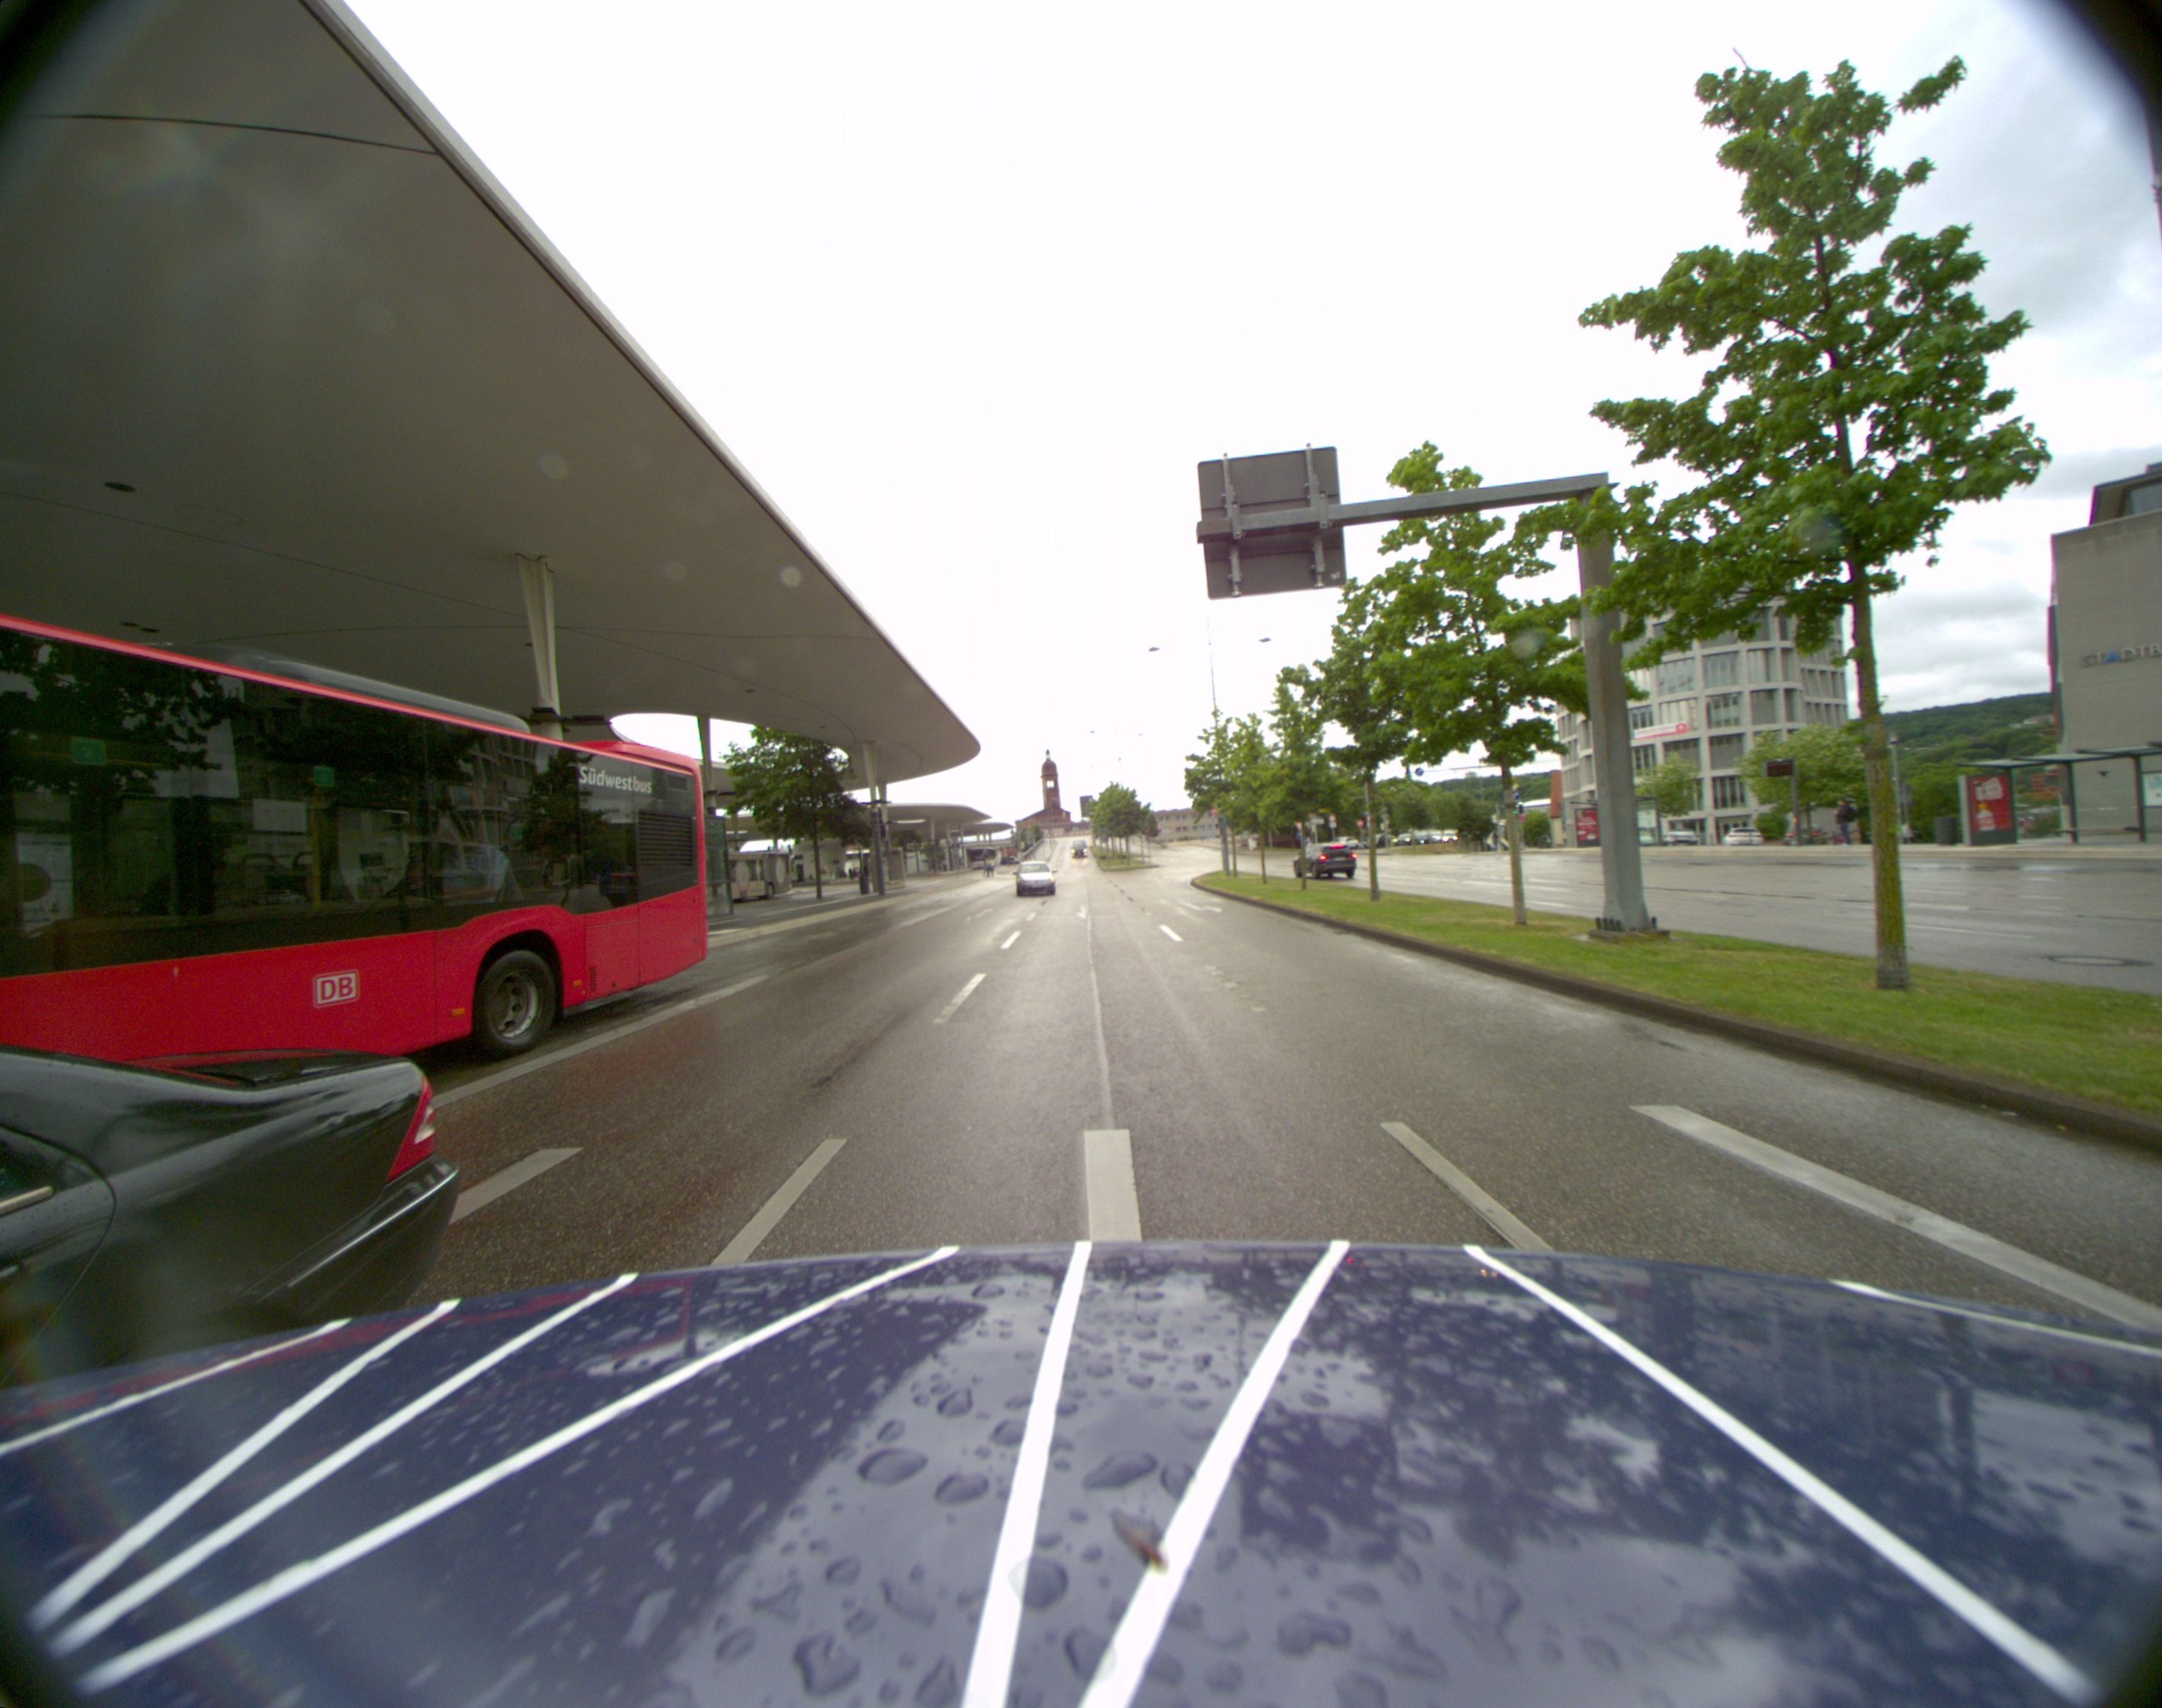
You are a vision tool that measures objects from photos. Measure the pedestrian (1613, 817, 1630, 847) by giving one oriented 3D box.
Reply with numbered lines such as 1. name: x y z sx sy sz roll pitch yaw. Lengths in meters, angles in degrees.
1. pedestrian: 30.049 -1.233 42.234 0.520 1.625 0.536 -2 1 1

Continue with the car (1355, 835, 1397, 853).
1. car: 31.628 -1.113 81.476 4.925 1.702 2.190 -3 1 -43

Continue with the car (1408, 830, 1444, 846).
1. car: 41.880 -1.939 92.224 4.925 1.702 2.190 -3 1 -43

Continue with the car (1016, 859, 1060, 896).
1. car: -1.933 0.984 33.375 1.628 1.450 3.733 -3 0 -7

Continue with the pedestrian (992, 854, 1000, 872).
1. pedestrian: -7.626 0.813 68.325 0.557 1.614 0.552 -3 1 1

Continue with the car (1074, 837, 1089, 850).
1. car: 0.071 -1.365 101.392 1.704 1.656 3.998 -2 1 -2

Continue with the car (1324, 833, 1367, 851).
1. car: 29.028 -1.361 83.366 4.925 1.702 2.190 -3 1 -40

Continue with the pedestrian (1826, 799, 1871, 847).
1. pedestrian: 29.294 -1.178 29.004 0.787 1.750 0.972 -3 1 -28

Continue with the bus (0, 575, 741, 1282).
1. bus: -6.169 0.356 6.357 2.750 3.155 8.120 -3 0 1

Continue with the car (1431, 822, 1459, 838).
1. car: 46.835 -3.084 97.828 1.995 2.002 4.008 -2 0 44

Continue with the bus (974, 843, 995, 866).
1. bus: -14.308 0.072 113.253 2.675 3.111 9.712 -3 0 -5

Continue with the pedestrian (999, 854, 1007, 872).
1. pedestrian: -7.035 0.789 68.223 0.557 1.614 0.552 -3 1 1

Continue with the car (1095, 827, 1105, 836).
1. car: 4.015 -4.748 159.086 1.998 1.765 4.000 -3 0 1

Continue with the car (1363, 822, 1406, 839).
1. car: 41.898 -3.255 105.017 2.315 2.002 5.021 -3 1 -41

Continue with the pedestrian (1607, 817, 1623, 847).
1. pedestrian: 29.500 -1.206 42.000 0.504 1.625 0.502 -2 1 1

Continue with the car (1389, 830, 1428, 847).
1. car: 37.659 -1.834 87.365 4.925 1.702 2.190 -3 1 -43

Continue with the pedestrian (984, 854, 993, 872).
1. pedestrian: -8.335 0.794 68.467 0.576 1.614 0.588 -3 1 1

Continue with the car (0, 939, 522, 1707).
1. car: -2.838 1.157 0.316 1.750 1.472 4.434 -6 1 0

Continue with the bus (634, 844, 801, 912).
1. bus: -19.761 1.107 42.735 3.003 3.088 12.355 -4 0 2

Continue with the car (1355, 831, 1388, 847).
1. car: 34.119 -1.791 89.152 4.008 1.783 1.995 -2 0 -43

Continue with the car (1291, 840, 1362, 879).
1. car: 11.612 0.236 36.218 1.826 1.630 4.599 -3 0 0

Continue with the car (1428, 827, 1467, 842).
1. car: 49.789 -2.637 103.325 2.196 1.702 4.912 -3 0 -10
